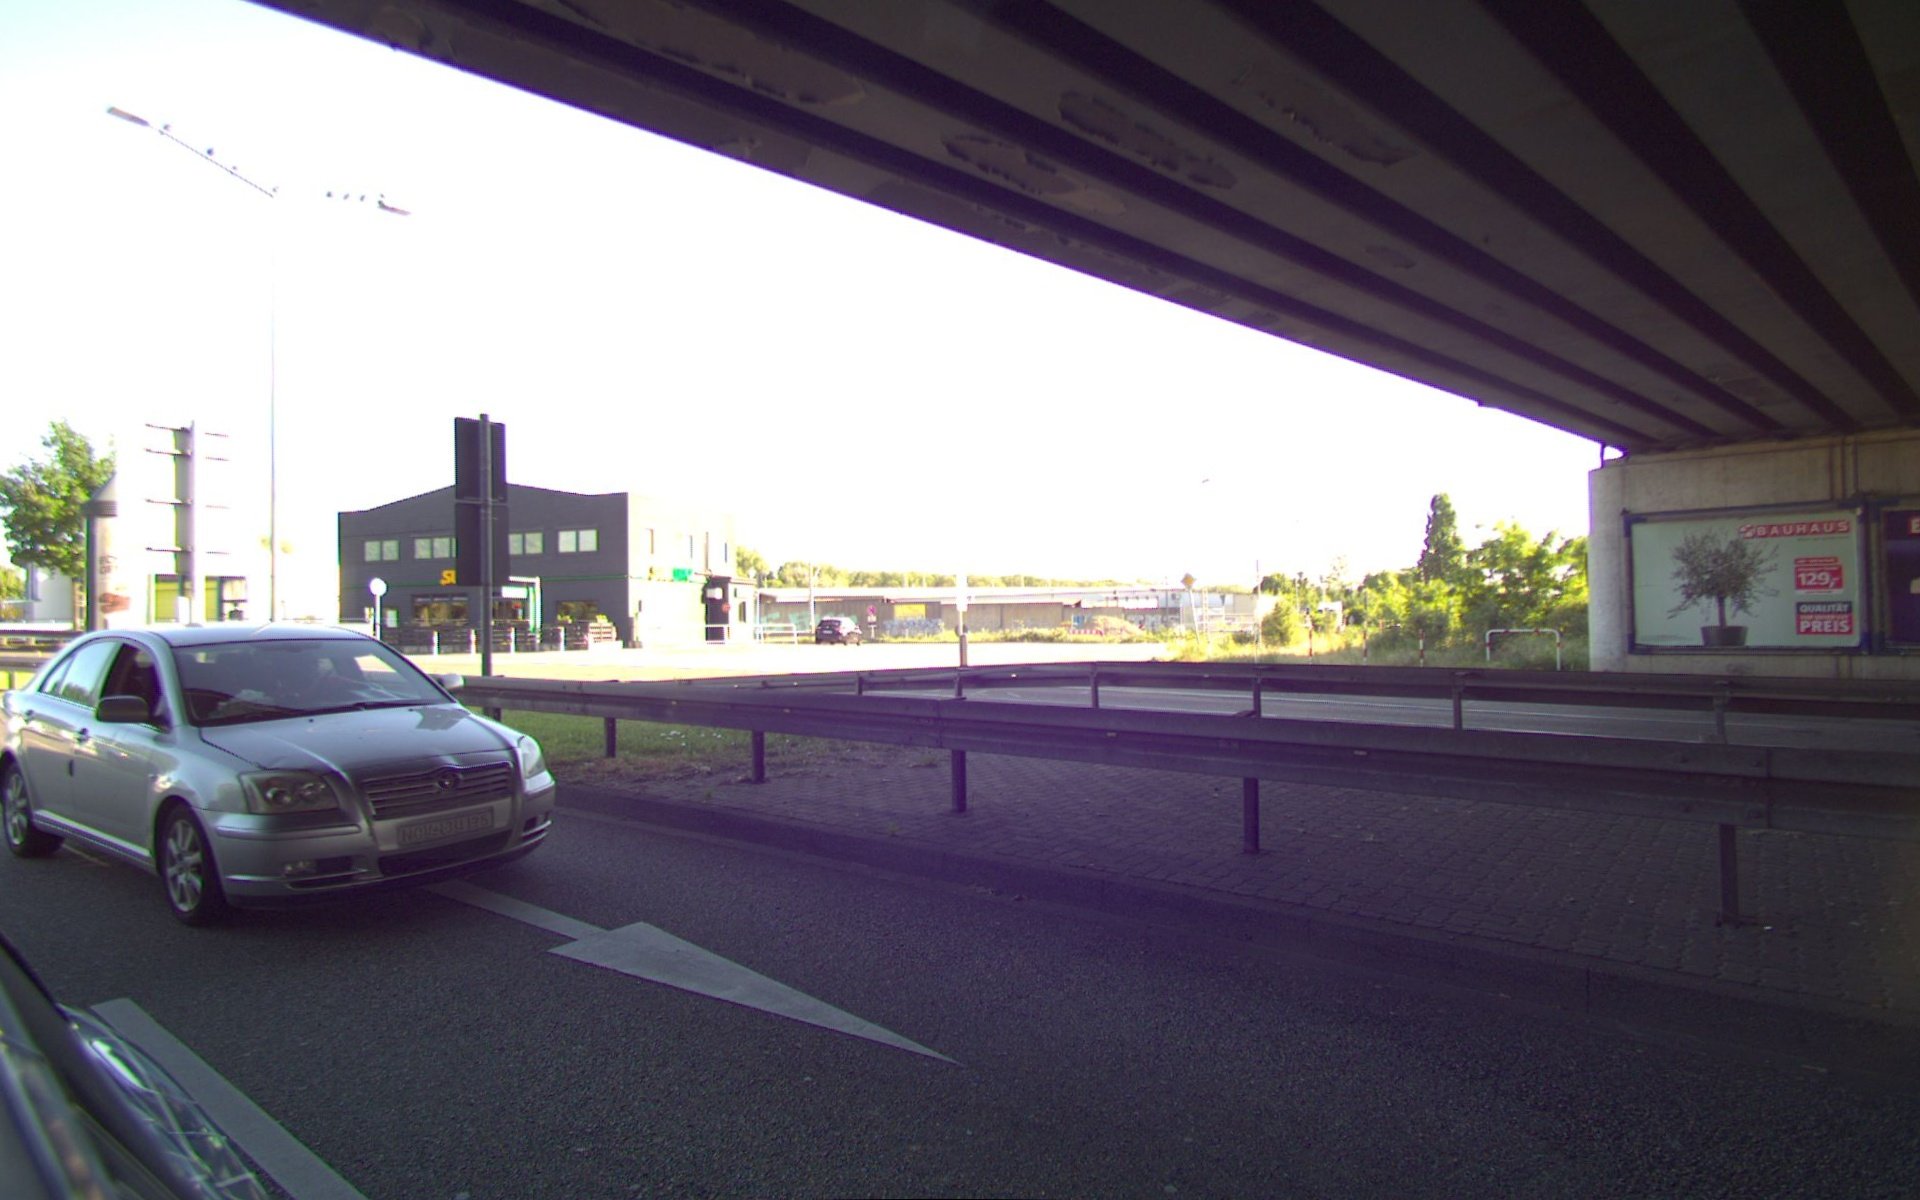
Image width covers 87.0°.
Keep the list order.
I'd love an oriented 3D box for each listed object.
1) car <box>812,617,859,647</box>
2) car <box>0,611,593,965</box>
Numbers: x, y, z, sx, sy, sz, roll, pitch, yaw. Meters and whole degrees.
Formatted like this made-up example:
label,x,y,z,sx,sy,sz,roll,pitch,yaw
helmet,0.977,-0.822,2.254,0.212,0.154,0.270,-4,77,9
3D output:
label,x,y,z,sx,sy,sz,roll,pitch,yaw
car,-6.707,1.723,54.988,1.858,1.453,3.996,-1,0,3
car,-4.364,0.848,6.208,4.385,1.466,1.683,-1,0,33
